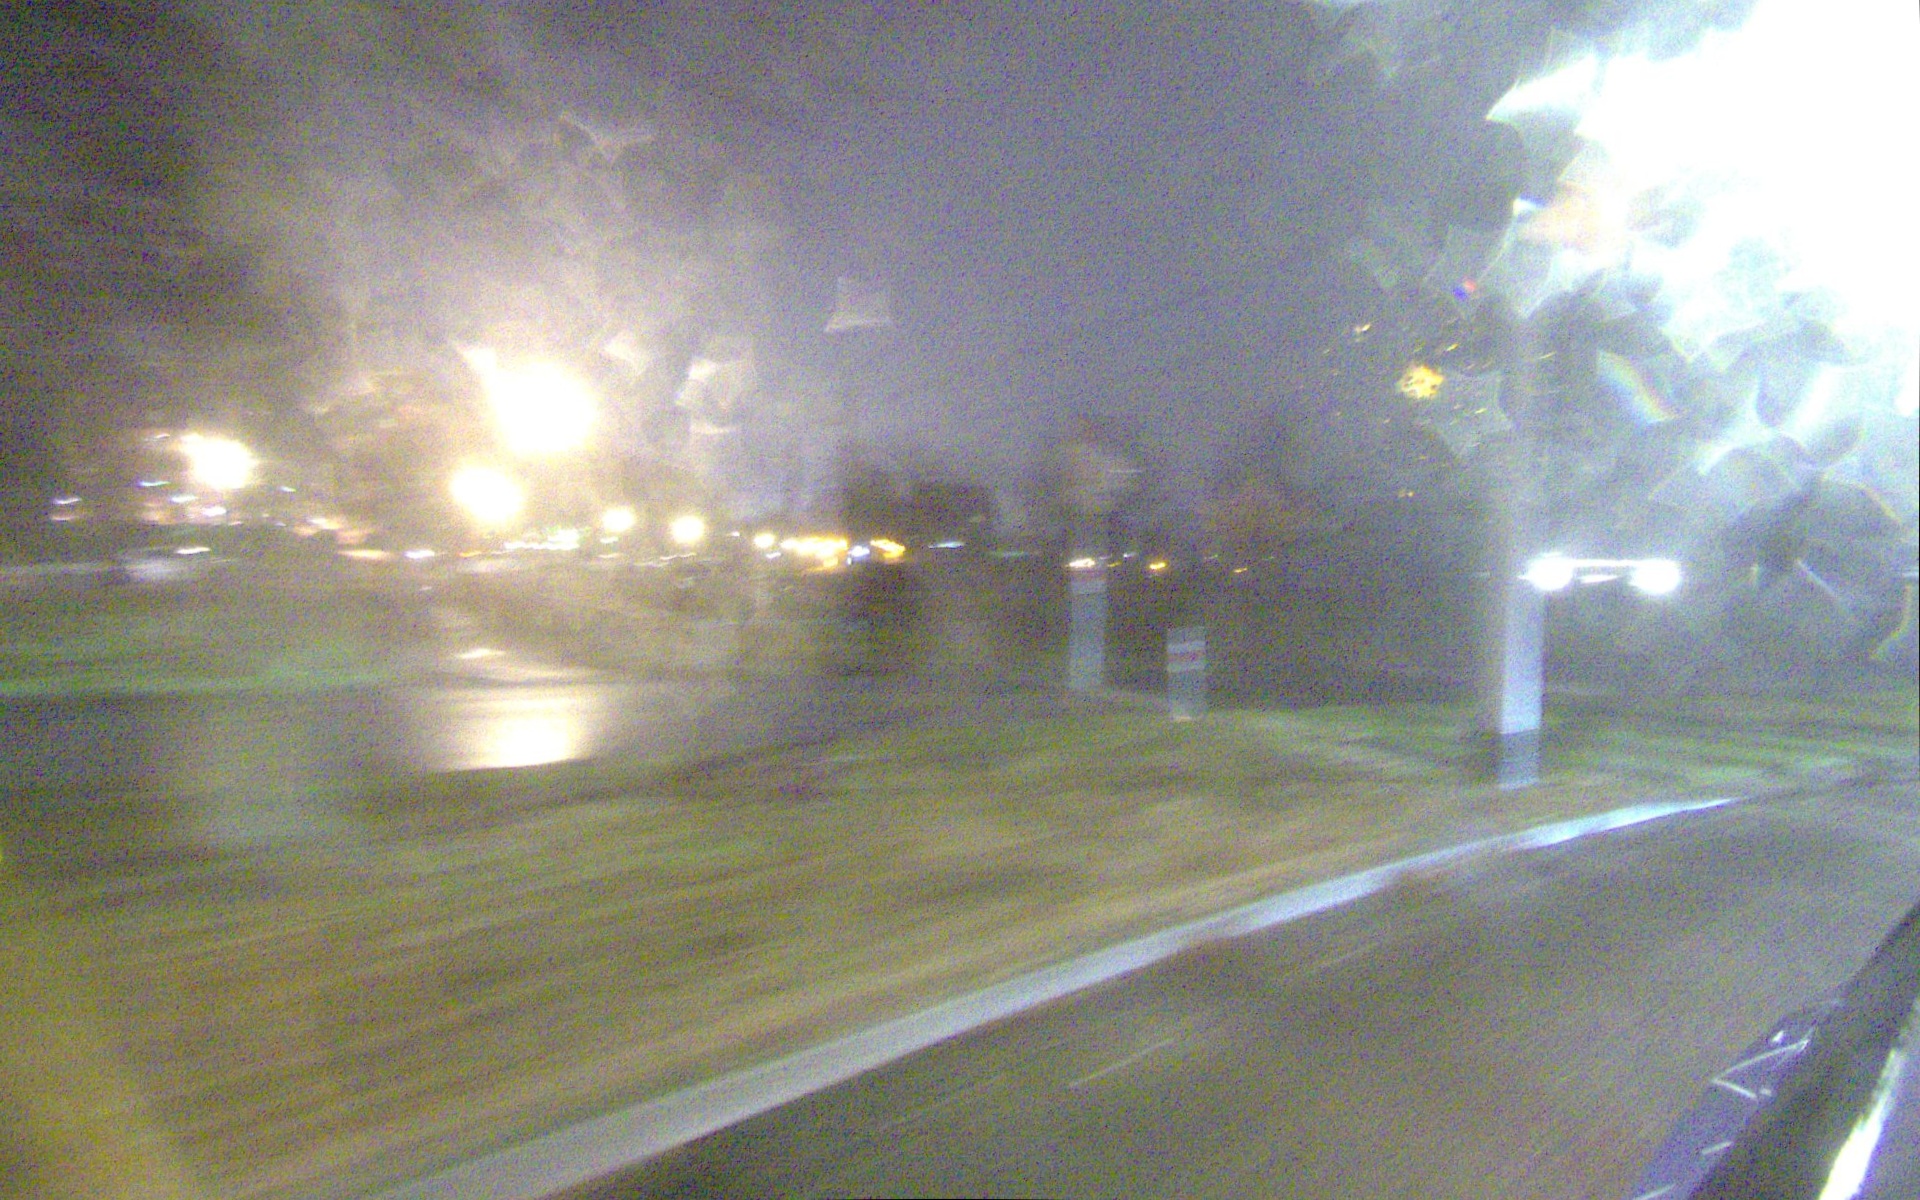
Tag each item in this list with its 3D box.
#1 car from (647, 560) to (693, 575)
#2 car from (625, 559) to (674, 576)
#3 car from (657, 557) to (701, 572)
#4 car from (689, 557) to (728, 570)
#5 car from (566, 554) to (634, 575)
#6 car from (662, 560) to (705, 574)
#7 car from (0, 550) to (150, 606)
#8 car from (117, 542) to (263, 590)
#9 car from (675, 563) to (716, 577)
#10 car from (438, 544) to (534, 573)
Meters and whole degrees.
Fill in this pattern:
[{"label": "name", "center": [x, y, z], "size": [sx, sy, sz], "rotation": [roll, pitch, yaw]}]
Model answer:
[{"label": "car", "center": [-28.648, -3.197, 100.134], "size": [4.069, 1.392, 1.723], "rotation": [2, 1, -2]}, {"label": "car", "center": [-28.773, -3.013, 93.854], "size": [4.069, 1.392, 1.723], "rotation": [2, 1, -2]}, {"label": "car", "center": [-28.941, -3.667, 104.208], "size": [4.069, 1.392, 1.723], "rotation": [2, 1, -2]}, {"label": "car", "center": [-29.072, -4.244, 116.924], "size": [4.069, 1.392, 1.723], "rotation": [2, 1, -2]}, {"label": "car", "center": [-29.201, -2.839, 82.132], "size": [4.898, 1.555, 1.723], "rotation": [2, 1, -2]}, {"label": "car", "center": [-29.326, -3.480, 107.320], "size": [4.069, 1.392, 1.723], "rotation": [2, 1, -2]}, {"label": "car", "center": [-27.092, -0.676, 30.572], "size": [3.836, 1.555, 1.723], "rotation": [2, 1, -2]}, {"label": "car", "center": [-27.172, -1.198, 35.804], "size": [3.836, 1.555, 1.723], "rotation": [2, 1, -2]}, {"label": "car", "center": [-28.776, -3.288, 110.190], "size": [4.069, 1.392, 1.723], "rotation": [2, 1, -2]}, {"label": "car", "center": [-28.210, -2.468, 60.280], "size": [4.898, 1.555, 1.723], "rotation": [2, 1, -2]}]
